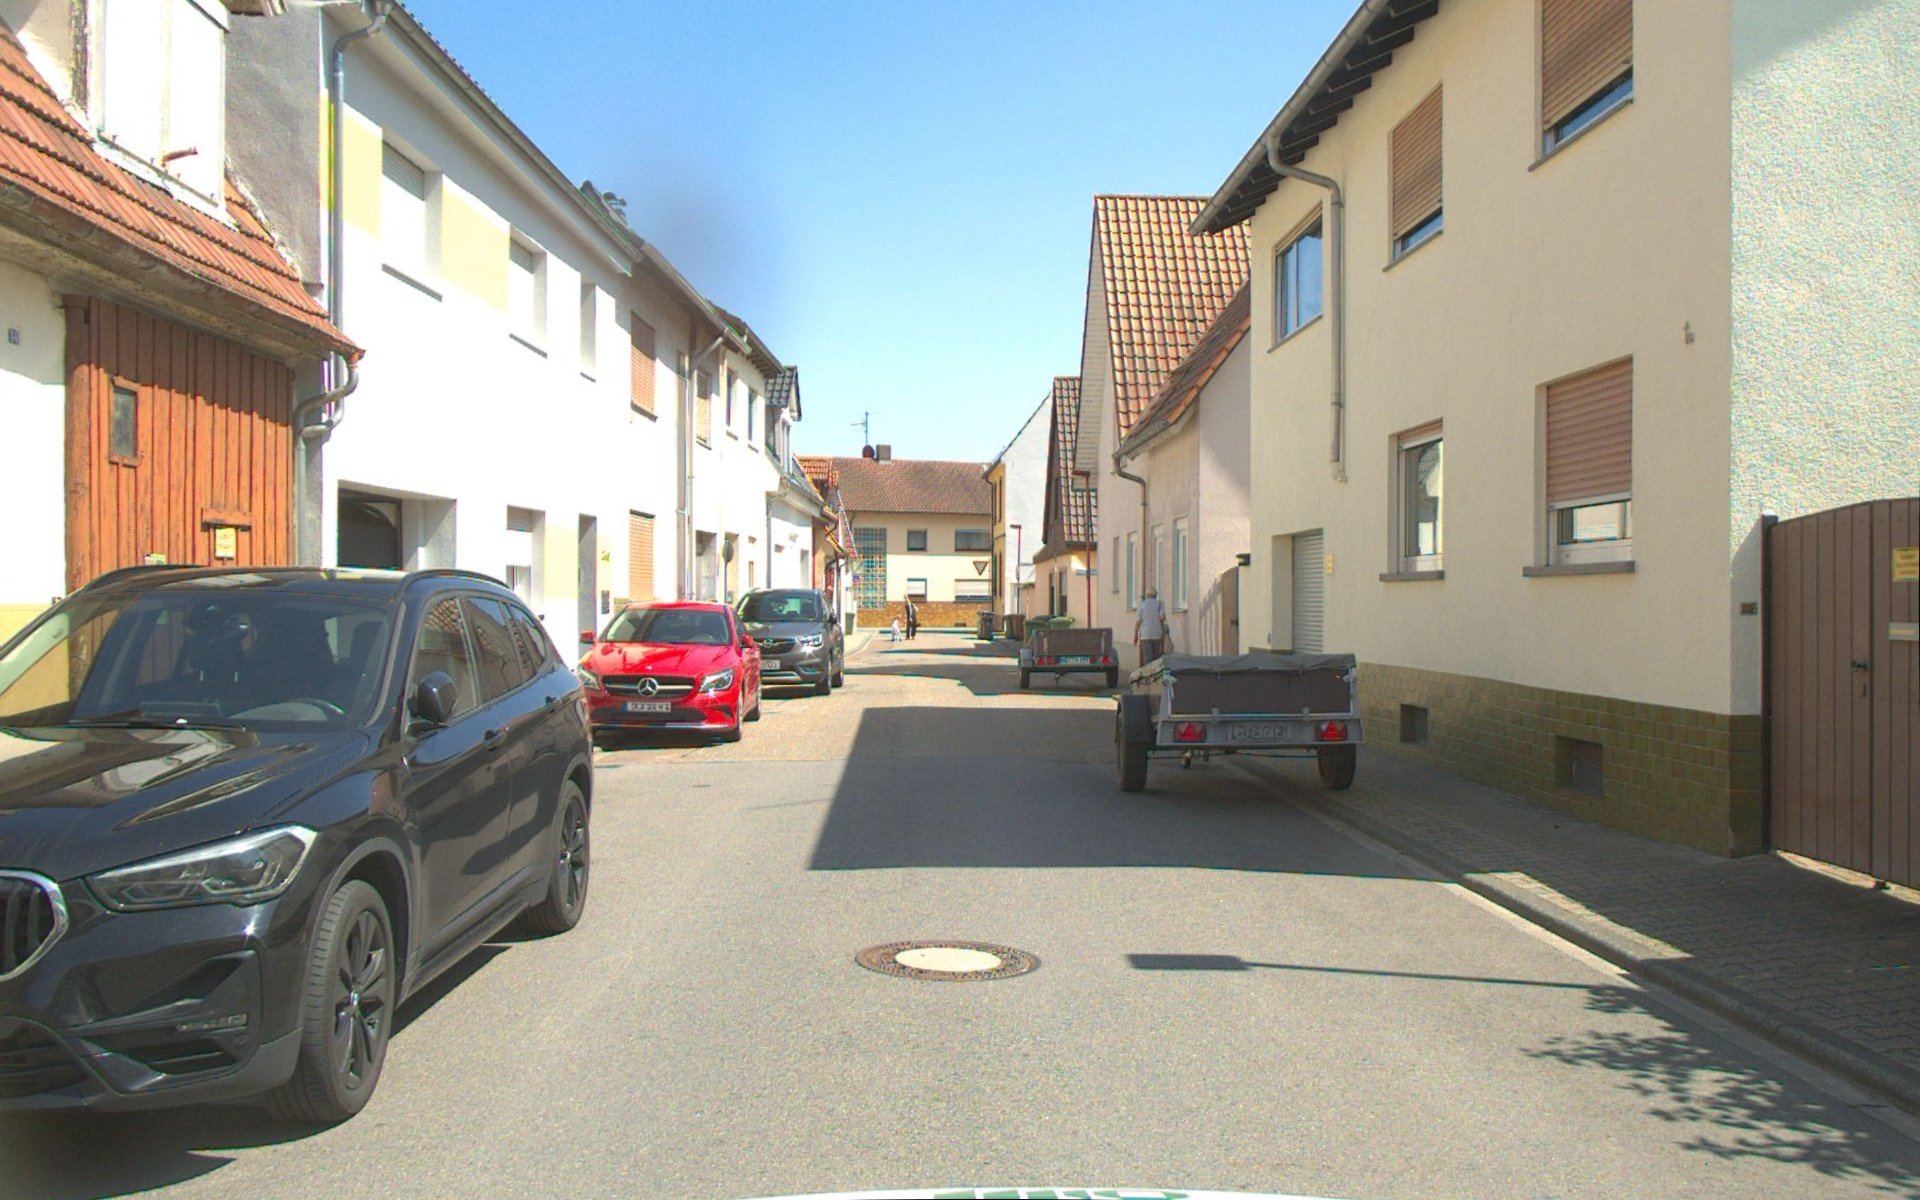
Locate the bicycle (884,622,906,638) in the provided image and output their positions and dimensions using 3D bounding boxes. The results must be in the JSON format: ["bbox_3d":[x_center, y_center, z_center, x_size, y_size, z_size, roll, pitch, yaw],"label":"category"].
[{"bbox_3d":[-2.376,1.083,60.531,0.436,0.577,0.930,0,0,-30],"label":"bicycle"}]

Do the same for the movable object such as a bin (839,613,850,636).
[{"bbox_3d":[-4.803,1.010,68.832,0.439,0.937,0.404,-1,-1,-4],"label":"movable object such as a bin"}]

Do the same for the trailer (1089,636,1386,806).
[{"bbox_3d":[2.089,0.886,13.370,1.780,1.109,3.480,0,0,-1],"label":"trailer"}]

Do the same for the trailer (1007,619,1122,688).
[{"bbox_3d":[1.727,0.880,28.228,1.665,1.051,3.480,0,0,-1],"label":"trailer"}]

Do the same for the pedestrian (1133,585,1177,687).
[{"bbox_3d":[3.057,0.572,26.000,0.583,1.592,0.556,0,-4,-4],"label":"pedestrian"}]

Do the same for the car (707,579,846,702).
[{"bbox_3d":[-2.819,0.599,26.250,1.763,1.733,4.486,-1,0,-1],"label":"car"}]

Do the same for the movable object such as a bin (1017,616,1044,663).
[{"bbox_3d":[1.637,0.907,38.268,0.573,1.051,0.595,-1,0,-3],"label":"movable object such as a bin"}]

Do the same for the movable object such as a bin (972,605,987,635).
[{"bbox_3d":[0.758,0.784,63.767,0.558,1.147,0.453,-1,-1,-4],"label":"movable object such as a bin"}]

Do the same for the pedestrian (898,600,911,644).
[{"bbox_3d":[-2.064,0.812,61.350,0.404,1.638,0.367,0,-1,-11],"label":"pedestrian"}]

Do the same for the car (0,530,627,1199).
[{"bbox_3d":[-2.517,0.667,5.870,1.763,1.601,4.614,-1,0,-1],"label":"car"}]

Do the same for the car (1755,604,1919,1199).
[{"bbox_3d":[2.617,0.725,1.486,1.616,1.461,4.131,-1,0,-4],"label":"car"}]

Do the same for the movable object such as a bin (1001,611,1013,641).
[{"bbox_3d":[1.766,0.981,62.623,0.417,1.147,0.413,0,-1,-4],"label":"movable object such as a bin"}]

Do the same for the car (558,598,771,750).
[{"bbox_3d":[-3.147,0.728,18.438,1.764,1.466,4.484,-1,0,-3],"label":"car"}]

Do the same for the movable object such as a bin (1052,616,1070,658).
[{"bbox_3d":[2.732,0.999,44.768,0.448,1.106,0.502,-1,-1,-2],"label":"movable object such as a bin"}]

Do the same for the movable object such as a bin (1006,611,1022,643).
[{"bbox_3d":[1.963,0.968,60.062,0.515,1.147,0.366,0,-1,-4],"label":"movable object such as a bin"}]

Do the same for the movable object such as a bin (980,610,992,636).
[{"bbox_3d":[0.975,0.882,63.164,0.415,0.992,0.473,0,0,-4],"label":"movable object such as a bin"}]

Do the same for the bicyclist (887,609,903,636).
[{"bbox_3d":[-2.380,0.810,60.536,0.456,0.976,0.348,0,-2,-30],"label":"bicyclist"}]
